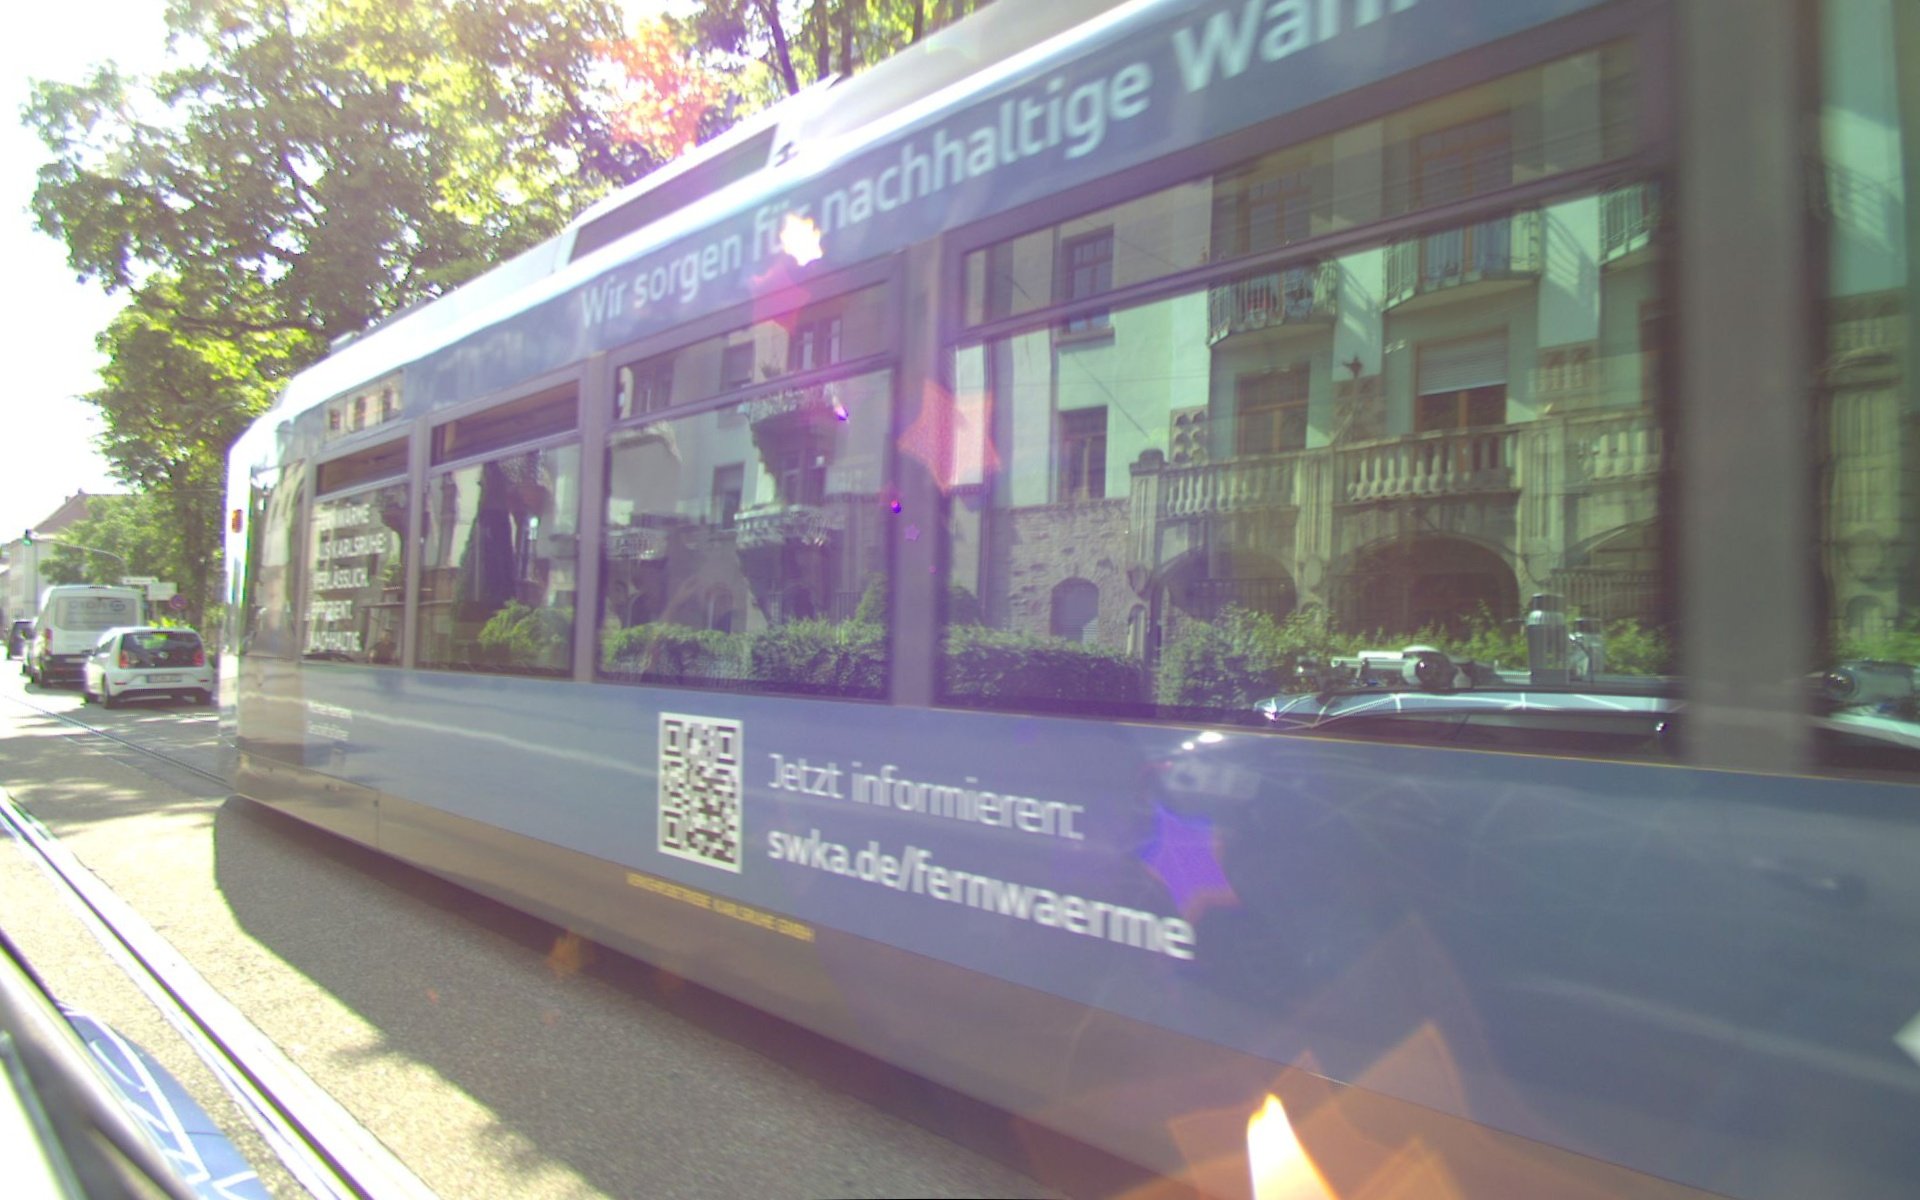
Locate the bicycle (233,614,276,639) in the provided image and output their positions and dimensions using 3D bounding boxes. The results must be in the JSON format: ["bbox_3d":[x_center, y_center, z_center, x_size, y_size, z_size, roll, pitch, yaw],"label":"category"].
[{"bbox_3d":[-29.115,1.092,41.747,1.859,0.940,0.988,-3,1,40],"label":"bicycle"}]

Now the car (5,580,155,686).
[{"bbox_3d":[-23.744,0.913,27.194,6.361,2.527,2.291,-3,-3,42],"label":"car"}]

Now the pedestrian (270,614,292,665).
[{"bbox_3d":[-27.473,1.576,40.983,0.477,2.029,0.808,-1,0,-16],"label":"pedestrian"}]

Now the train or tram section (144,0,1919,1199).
[{"bbox_3d":[-1.338,-0.175,5.398,12.311,3.463,2.624,-1,-3,42],"label":"train or tram section"}]

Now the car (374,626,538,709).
[{"bbox_3d":[-10.515,1.356,20.984,4.204,1.483,1.609,-3,-1,42],"label":"car"}]

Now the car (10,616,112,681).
[{"bbox_3d":[-29.483,1.584,33.136,5.179,1.978,1.964,-3,-4,43],"label":"car"}]

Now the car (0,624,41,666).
[{"bbox_3d":[-47.084,2.182,50.031,5.123,1.932,1.906,-1,-5,43],"label":"car"}]

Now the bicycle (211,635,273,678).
[{"bbox_3d":[-24.006,1.866,33.872,0.612,1.319,2.057,-1,0,0],"label":"bicycle"}]

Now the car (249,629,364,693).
[{"bbox_3d":[-17.776,1.595,27.457,4.083,1.530,1.533,-1,0,41],"label":"car"}]

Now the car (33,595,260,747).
[{"bbox_3d":[-16.046,1.266,19.803,6.358,2.526,2.292,-2,-2,40],"label":"car"}]

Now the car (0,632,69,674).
[{"bbox_3d":[-38.785,2.203,42.308,4.480,1.491,1.675,1,-2,42],"label":"car"}]
